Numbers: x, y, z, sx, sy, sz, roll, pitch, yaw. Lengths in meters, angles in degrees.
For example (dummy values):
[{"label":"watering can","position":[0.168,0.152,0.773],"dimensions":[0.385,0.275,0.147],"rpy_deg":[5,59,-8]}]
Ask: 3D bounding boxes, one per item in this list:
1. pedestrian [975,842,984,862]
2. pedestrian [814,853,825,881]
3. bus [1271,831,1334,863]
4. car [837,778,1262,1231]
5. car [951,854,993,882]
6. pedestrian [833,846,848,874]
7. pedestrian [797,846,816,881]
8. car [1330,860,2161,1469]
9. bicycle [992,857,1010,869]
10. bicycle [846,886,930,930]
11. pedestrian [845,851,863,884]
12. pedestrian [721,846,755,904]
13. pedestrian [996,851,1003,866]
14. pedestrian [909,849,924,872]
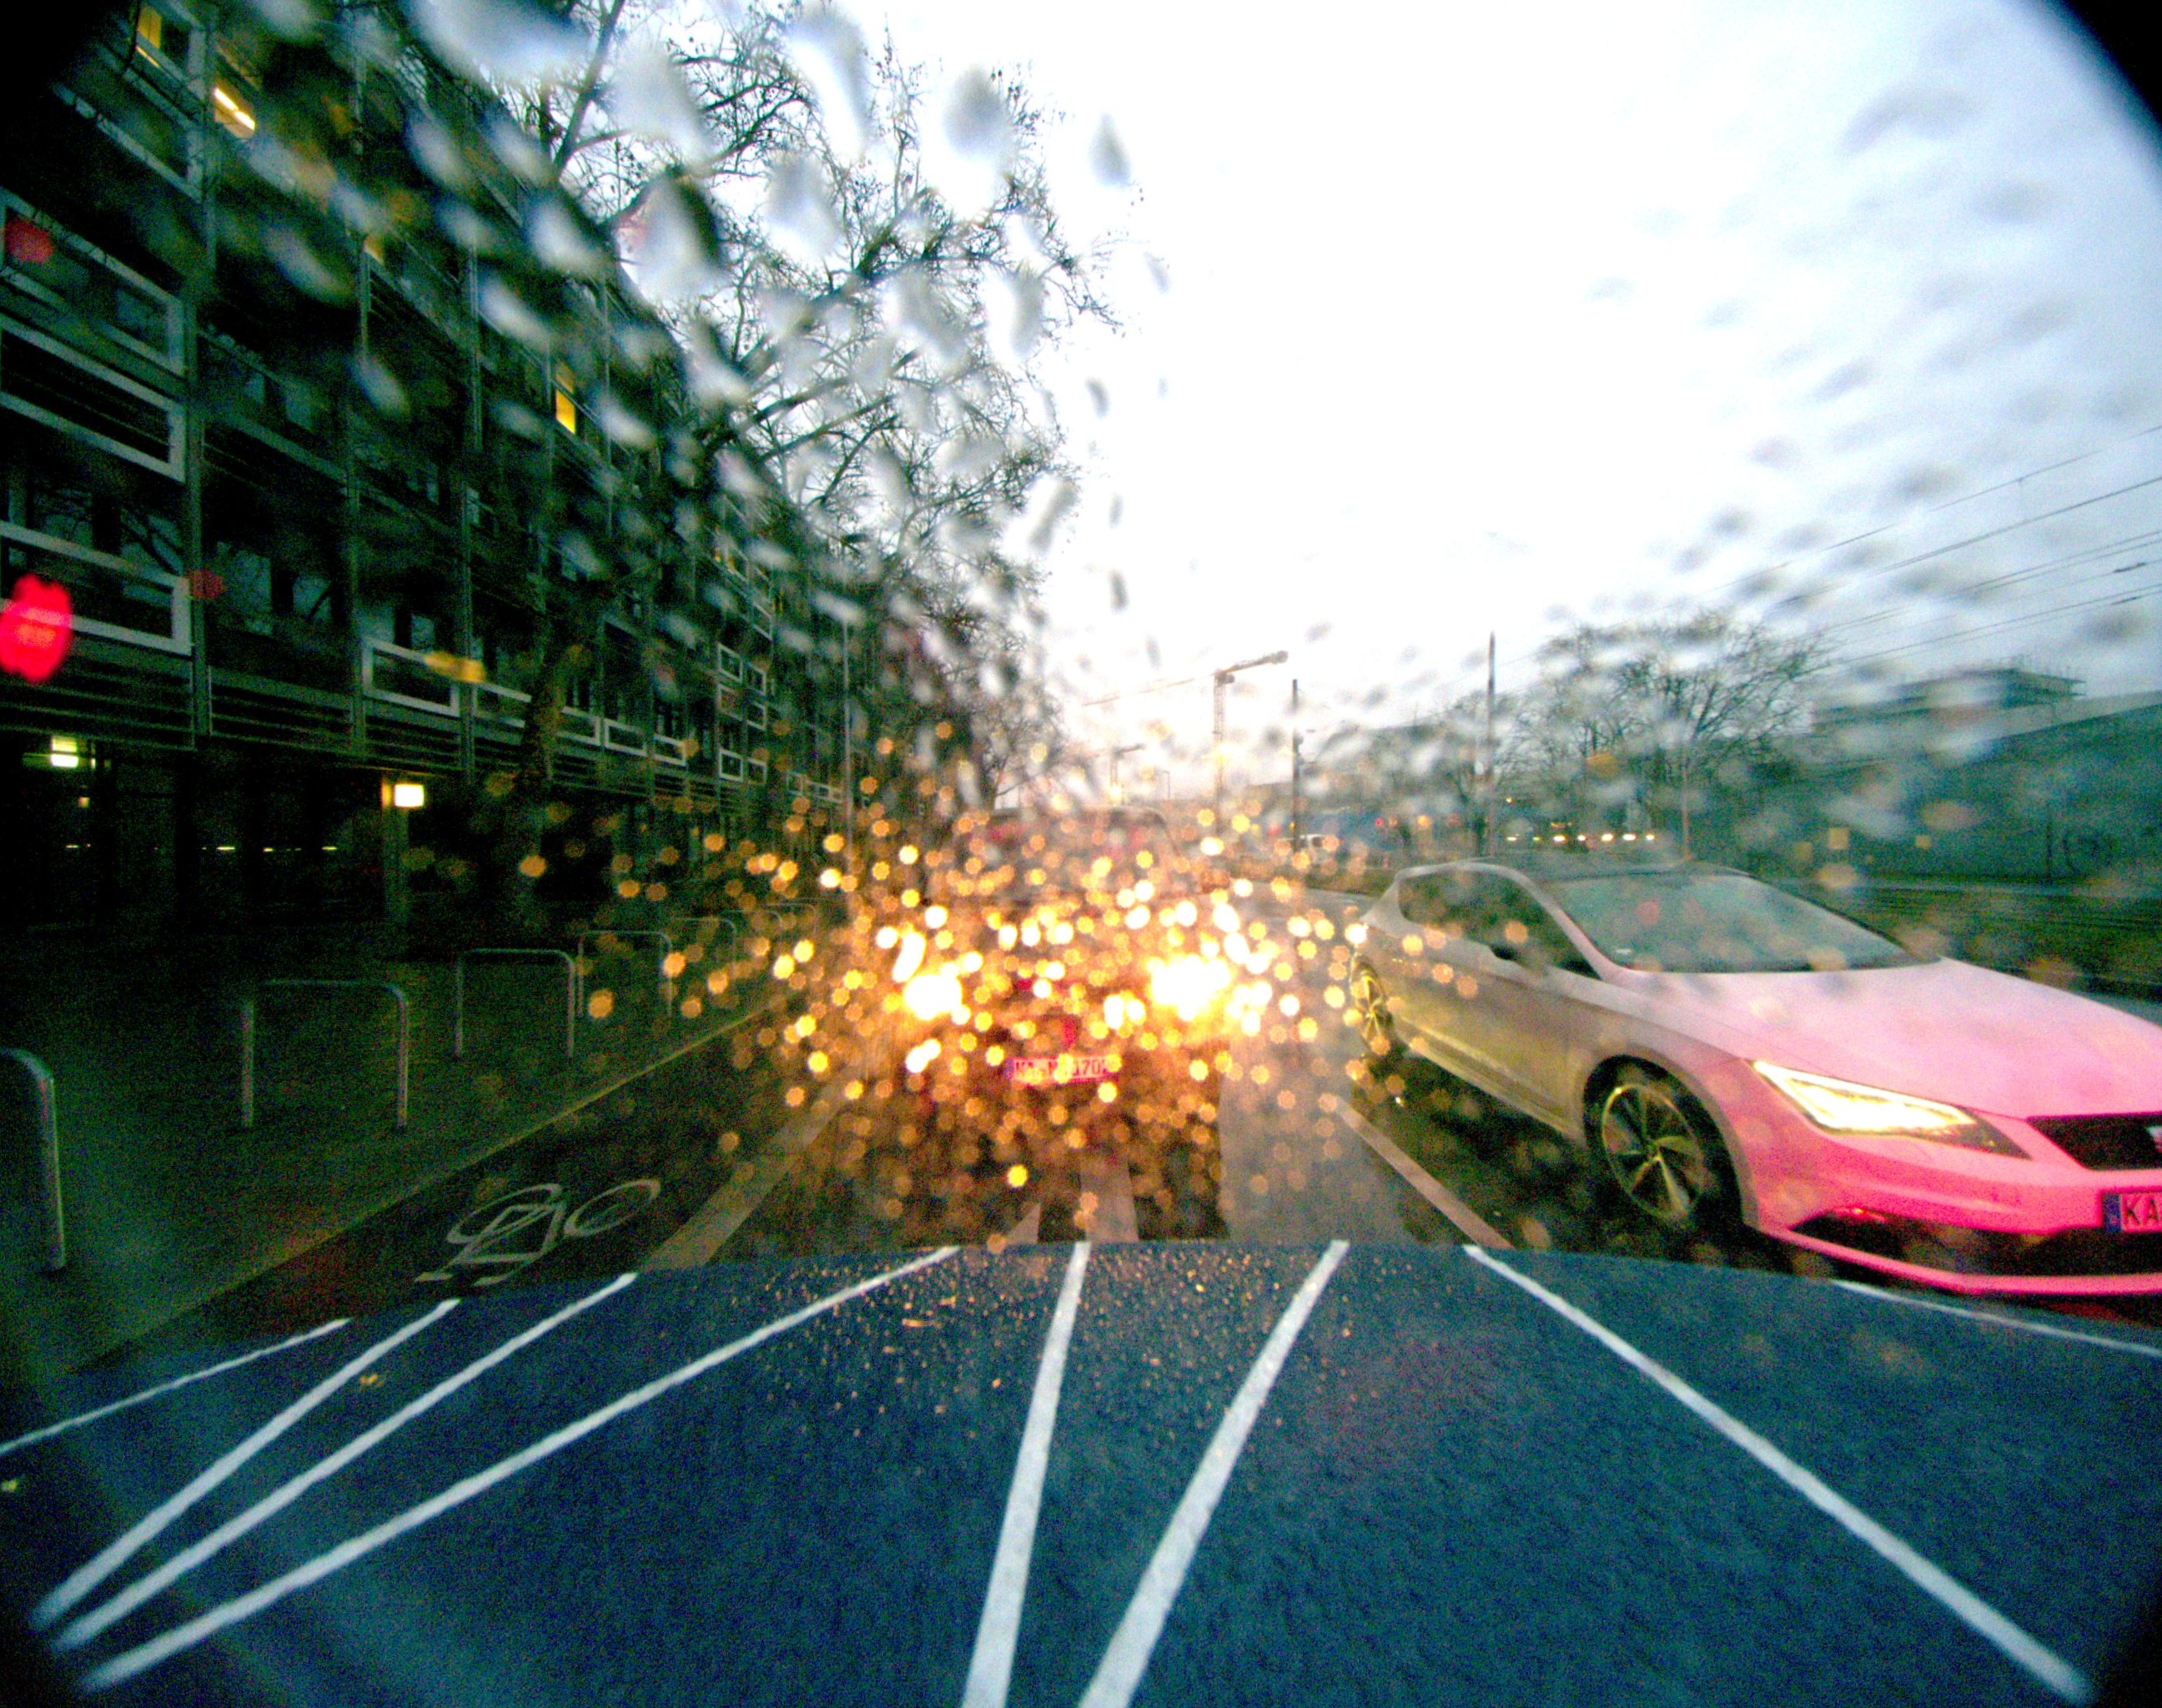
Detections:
[{"label":"pedestrian","position":[-10.642,-0.209,79.818],"dimensions":[0.791,2.002,1.024],"rpy_deg":[-1,1,0]},{"label":"pedestrian","position":[-12.696,0.627,36.901],"dimensions":[0.494,1.361,0.502],"rpy_deg":[-1,1,-15]},{"label":"bus","position":[25.974,-0.811,89.917],"dimensions":[2.815,3.557,12.298],"rpy_deg":[-1,0,-6]},{"label":"car","position":[-0.111,0.671,5.427],"dimensions":[1.858,2.002,4.000],"rpy_deg":[-2,1,1]},{"label":"car","position":[-6.175,0.781,43.380],"dimensions":[1.608,1.424,3.930],"rpy_deg":[2,1,2]},{"label":"pedestrian","position":[-14.524,0.357,45.870],"dimensions":[0.641,1.645,0.842],"rpy_deg":[-1,1,-4]},{"label":"pedestrian","position":[-13.417,0.457,37.205],"dimensions":[0.617,1.647,0.780],"rpy_deg":[-1,1,1]},{"label":"car","position":[2.954,0.811,4.028],"dimensions":[1.778,1.466,4.128],"rpy_deg":[0,1,-2]},{"label":"bicycle","position":[-7.214,0.802,68.277],"dimensions":[1.523,1.030,0.469],"rpy_deg":[-2,2,-7]},{"label":"bicycle","position":[-4.453,1.245,17.612],"dimensions":[1.792,0.968,0.617],"rpy_deg":[1,1,-4]},{"label":"pedestrian","position":[-10.826,0.637,36.205],"dimensions":[0.649,1.535,0.615],"rpy_deg":[-1,1,-1]},{"label":"pedestrian","position":[-12.154,0.738,26.939],"dimensions":[0.822,2.002,0.735],"rpy_deg":[-1,1,-2]},{"label":"pedestrian","position":[-11.101,0.651,103.813],"dimensions":[0.838,2.002,0.771],"rpy_deg":[-2,2,-1]},{"label":"pedestrian","position":[-11.245,0.445,51.945],"dimensions":[0.866,1.515,0.837],"rpy_deg":[-1,1,-2]}]
